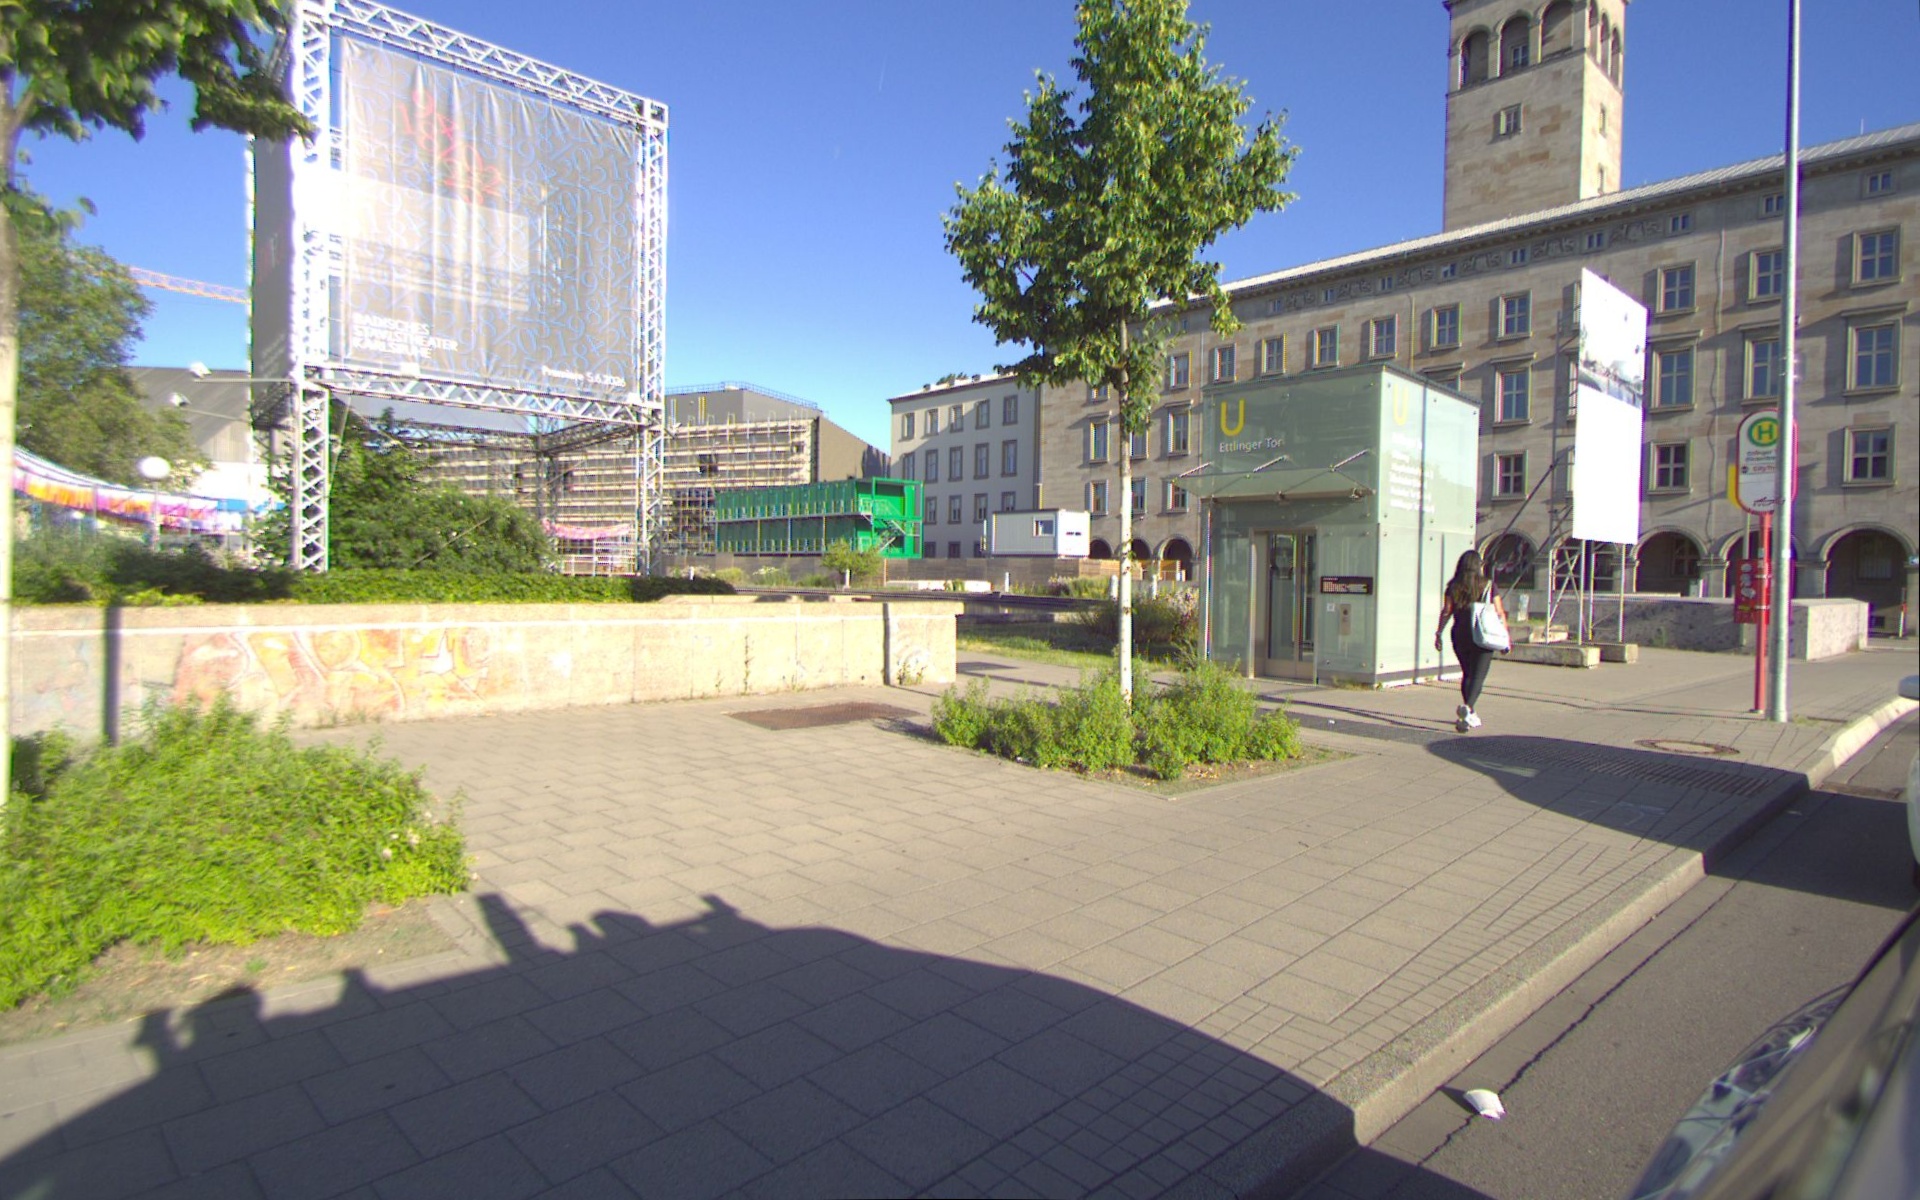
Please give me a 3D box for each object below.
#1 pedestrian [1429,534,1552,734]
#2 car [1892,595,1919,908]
[{"bbox_3d":[5.097,0.288,9.805,0.932,1.809,1.064,1,1,23],"label":"pedestrian"},{"bbox_3d":[6.428,0.710,5.431,3.821,1.467,1.677,0,0,-41],"label":"car"}]
